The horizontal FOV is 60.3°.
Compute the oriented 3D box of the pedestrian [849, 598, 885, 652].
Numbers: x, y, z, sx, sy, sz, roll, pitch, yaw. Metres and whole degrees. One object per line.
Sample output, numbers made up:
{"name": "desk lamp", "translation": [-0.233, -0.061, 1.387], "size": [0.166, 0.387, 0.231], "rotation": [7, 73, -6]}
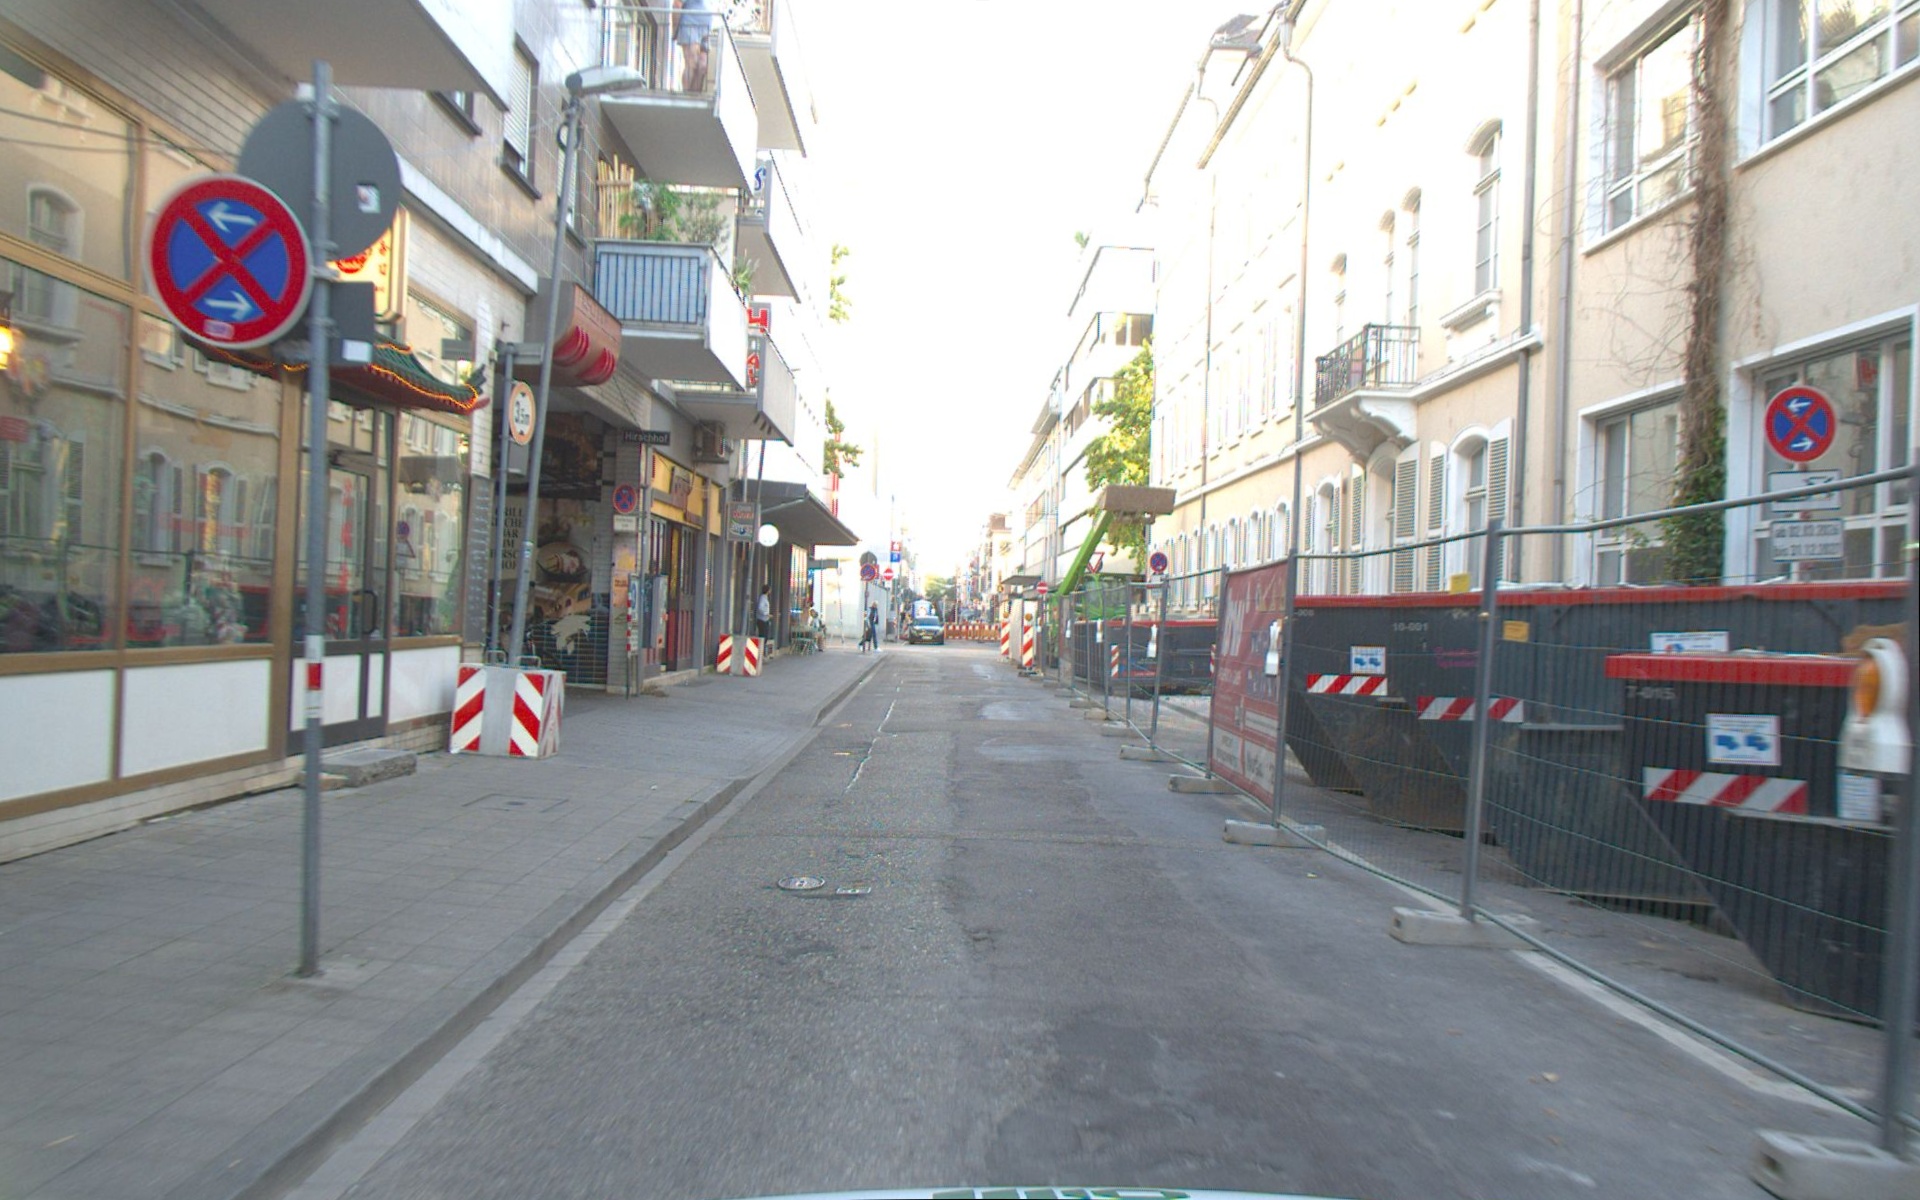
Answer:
{"name": "pedestrian", "translation": [-3.249, 0.878, 57.899], "size": [1.056, 1.867, 0.693], "rotation": [2, -1, -22]}

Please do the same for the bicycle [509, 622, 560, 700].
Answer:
{"name": "bicycle", "translation": [-5.806, 0.817, 22.633], "size": [0.370, 0.977, 1.501], "rotation": [2, 0, -4]}

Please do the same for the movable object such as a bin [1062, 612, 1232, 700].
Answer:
{"name": "movable object such as a bin", "translation": [4.031, 1.185, 37.272], "size": [2.681, 1.667, 7.549], "rotation": [3, -1, -2]}

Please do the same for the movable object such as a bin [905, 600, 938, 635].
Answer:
{"name": "movable object such as a bin", "translation": [-2.323, 1.068, 100.638], "size": [1.953, 2.049, 3.999], "rotation": [1, -1, 0]}

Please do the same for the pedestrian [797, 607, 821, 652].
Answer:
{"name": "pedestrian", "translation": [-4.480, 0.873, 49.083], "size": [0.561, 1.298, 0.713], "rotation": [4, -1, -1]}

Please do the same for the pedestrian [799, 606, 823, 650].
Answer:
{"name": "pedestrian", "translation": [-4.506, 0.841, 50.086], "size": [0.561, 1.298, 0.713], "rotation": [4, -1, -1]}

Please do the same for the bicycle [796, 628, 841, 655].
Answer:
{"name": "bicycle", "translation": [-6.055, 1.777, 70.857], "size": [1.853, 1.056, 0.409], "rotation": [2, -1, -4]}

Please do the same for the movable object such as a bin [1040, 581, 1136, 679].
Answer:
{"name": "movable object such as a bin", "translation": [3.928, 0.926, 51.528], "size": [2.552, 2.889, 4.449], "rotation": [1, -1, -1]}

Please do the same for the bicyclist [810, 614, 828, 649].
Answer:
{"name": "bicyclist", "translation": [-6.039, 1.363, 70.851], "size": [0.710, 1.467, 0.506], "rotation": [2, -1, -3]}

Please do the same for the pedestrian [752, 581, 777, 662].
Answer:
{"name": "pedestrian", "translation": [-4.570, 0.495, 38.682], "size": [0.520, 1.866, 0.562], "rotation": [2, -1, -7]}

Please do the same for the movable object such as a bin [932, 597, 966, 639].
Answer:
{"name": "movable object such as a bin", "translation": [-0.746, 1.223, 110.689], "size": [2.113, 2.710, 4.571], "rotation": [2, -1, -1]}

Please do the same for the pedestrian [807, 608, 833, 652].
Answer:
{"name": "pedestrian", "translation": [-4.326, 0.919, 51.200], "size": [0.688, 1.298, 0.713], "rotation": [4, -1, -1]}

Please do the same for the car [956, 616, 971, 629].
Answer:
{"name": "car", "translation": [0.438, 3.065, 224.738], "size": [1.953, 1.808, 3.999], "rotation": [1, -1, -1]}

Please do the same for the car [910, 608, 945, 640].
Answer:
{"name": "car", "translation": [-1.700, 1.247, 85.270], "size": [1.597, 1.578, 3.139], "rotation": [1, -1, -4]}

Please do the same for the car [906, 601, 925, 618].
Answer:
{"name": "car", "translation": [-4.846, 1.048, 180.212], "size": [1.953, 1.808, 3.999], "rotation": [1, -1, -1]}

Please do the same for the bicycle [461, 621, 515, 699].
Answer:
{"name": "bicycle", "translation": [-6.472, 0.804, 22.702], "size": [0.370, 0.977, 1.501], "rotation": [2, 0, -4]}
